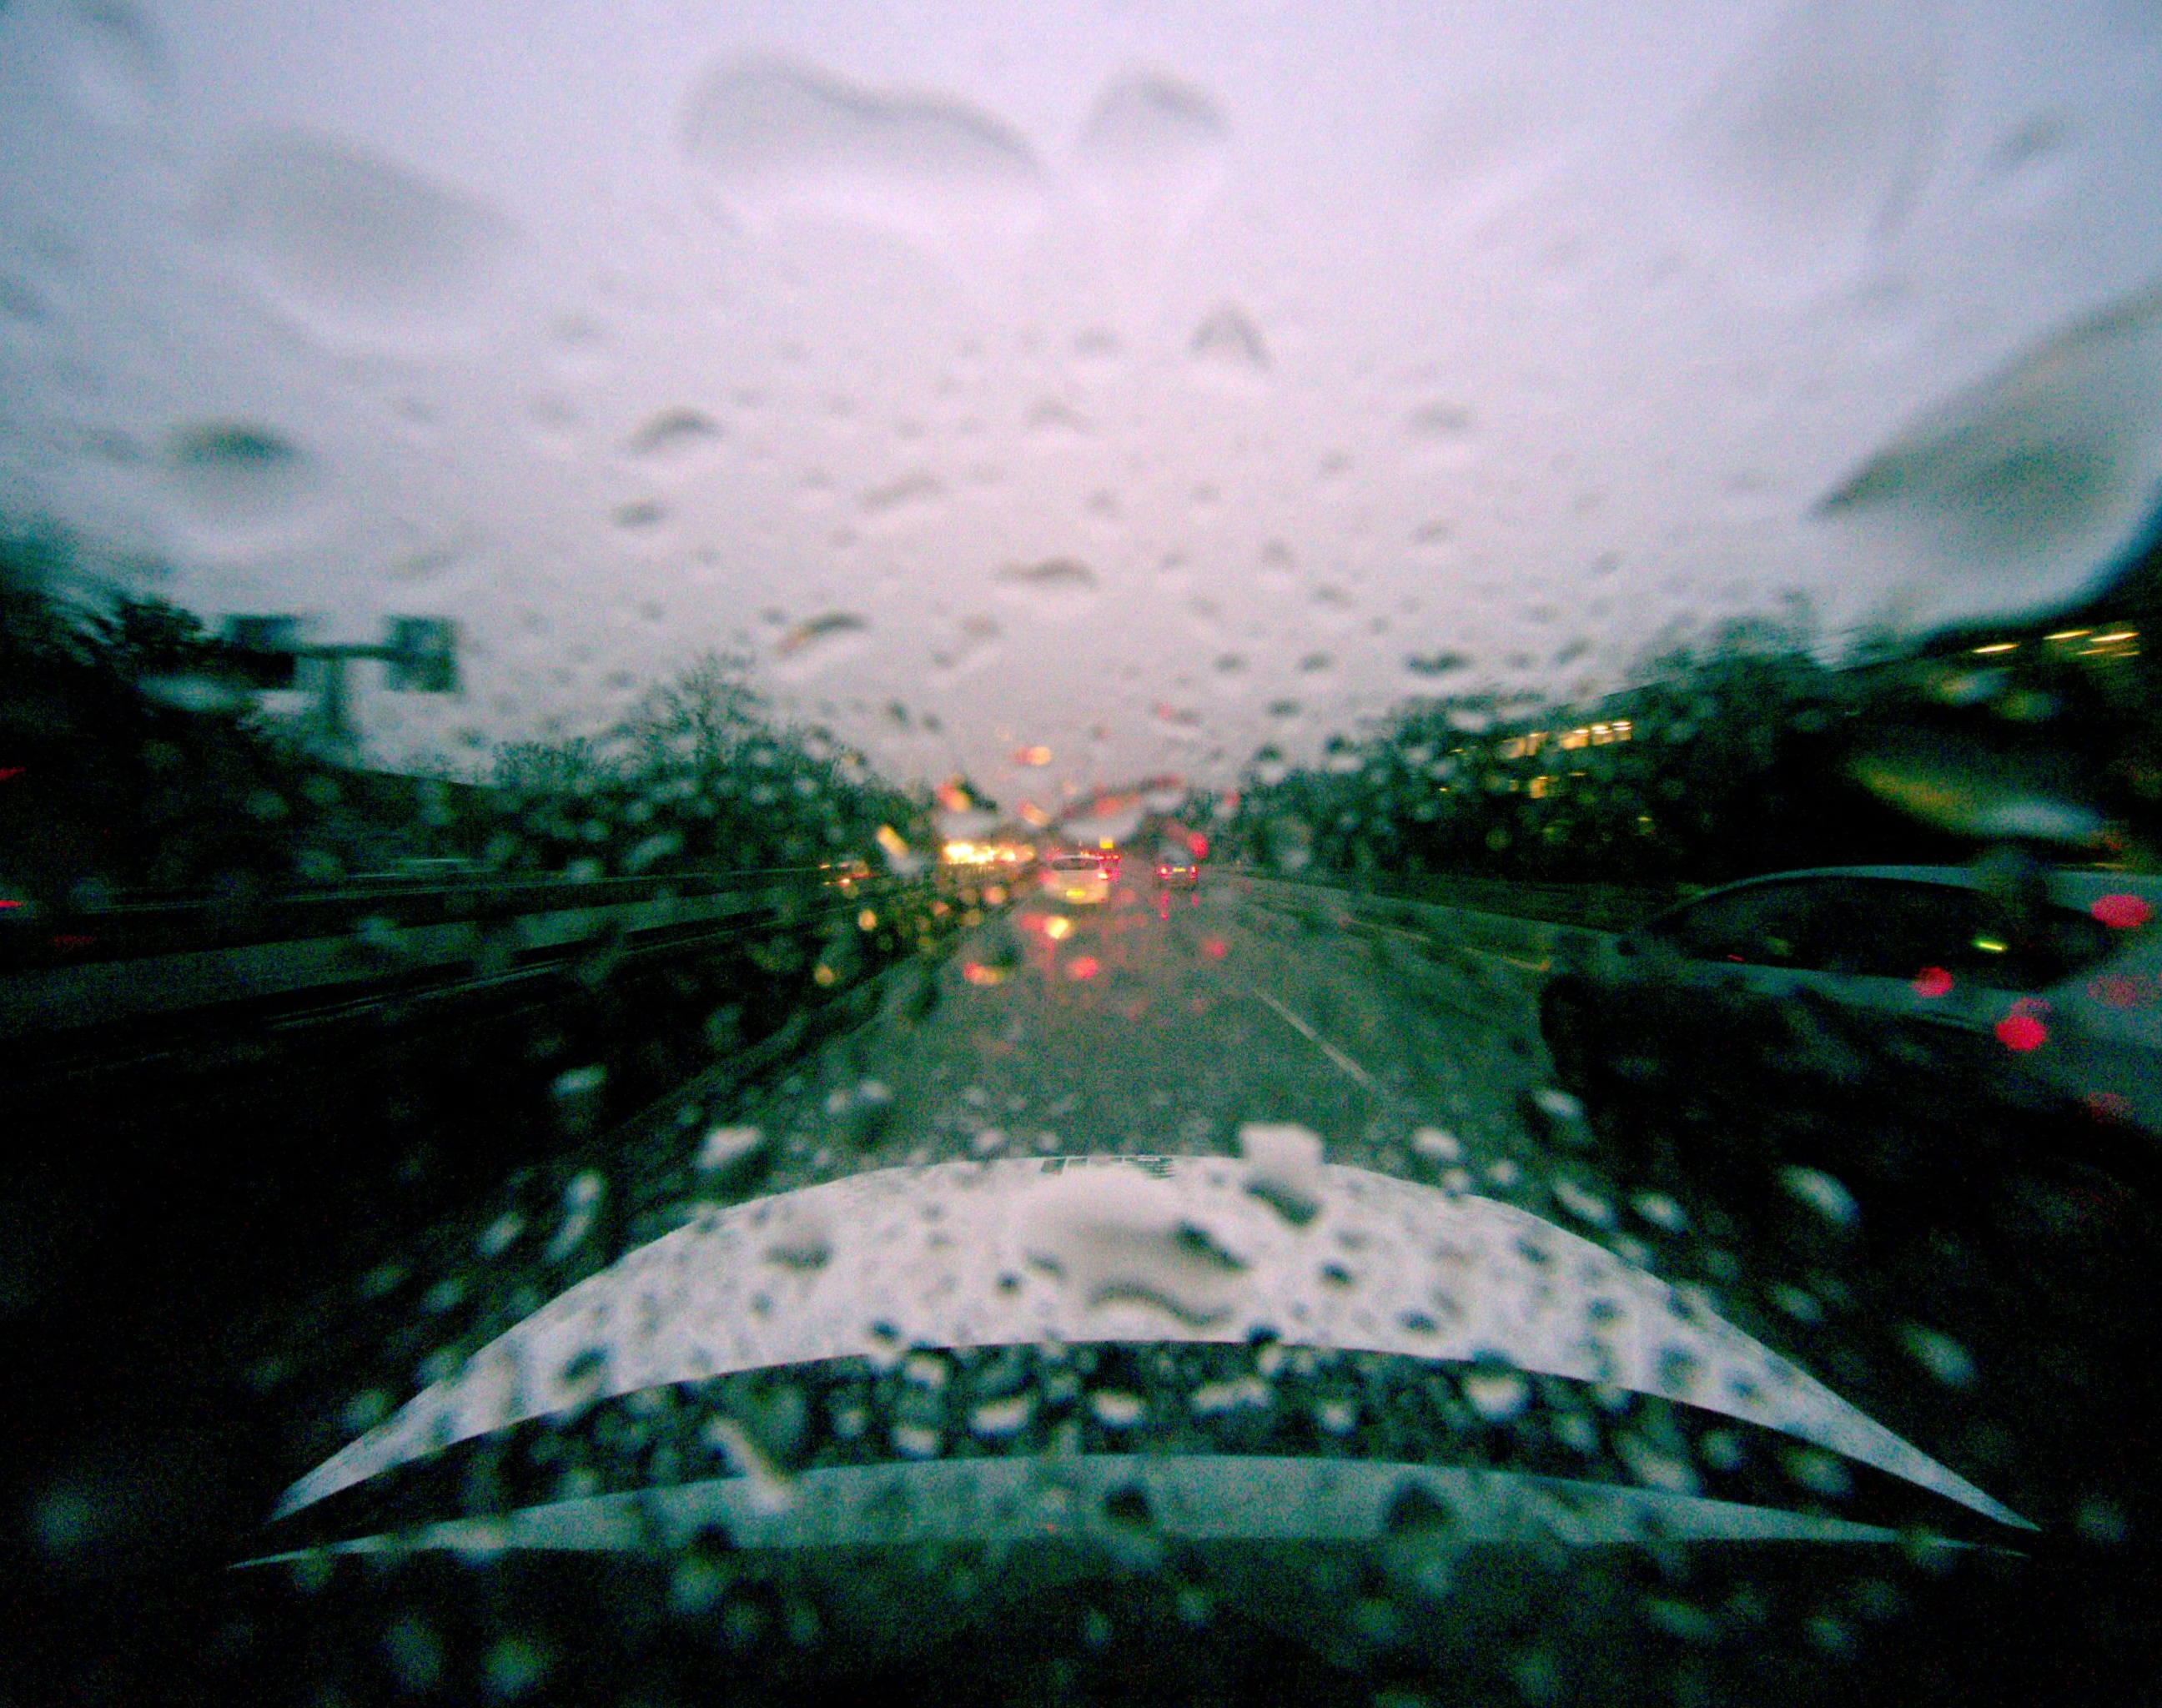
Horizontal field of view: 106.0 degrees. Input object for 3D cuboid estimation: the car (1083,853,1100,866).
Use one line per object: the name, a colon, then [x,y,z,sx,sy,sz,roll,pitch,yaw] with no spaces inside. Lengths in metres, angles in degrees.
car: [1.251,0.701,99.789,1.927,1.546,3.771,0,0,-2]

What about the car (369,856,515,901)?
car: [-21.417,0.782,27.450,1.636,1.395,3.540,0,0,18]

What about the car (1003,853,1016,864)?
car: [-10.559,0.640,120.361,1.612,1.484,4.595,0,0,-2]

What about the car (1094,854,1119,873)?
car: [2.387,0.902,77.408,1.928,1.546,3.770,-6,-1,-2]

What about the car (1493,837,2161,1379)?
car: [3.946,0.698,3.909,1.843,1.501,4.263,0,0,1]

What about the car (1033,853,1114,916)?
car: [-0.105,0.777,22.565,2.017,1.574,4.002,0,0,2]

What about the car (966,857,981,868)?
car: [-15.304,1.174,116.079,1.699,1.566,4.846,0,0,-2]

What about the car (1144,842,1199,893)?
car: [3.797,0.546,34.736,1.926,2.019,3.773,0,0,0]

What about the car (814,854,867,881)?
car: [-17.630,0.933,59.931,1.981,1.913,4.458,0,0,10]

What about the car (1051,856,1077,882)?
car: [-1.428,1.182,66.283,1.989,2.013,3.995,0,0,-3]
